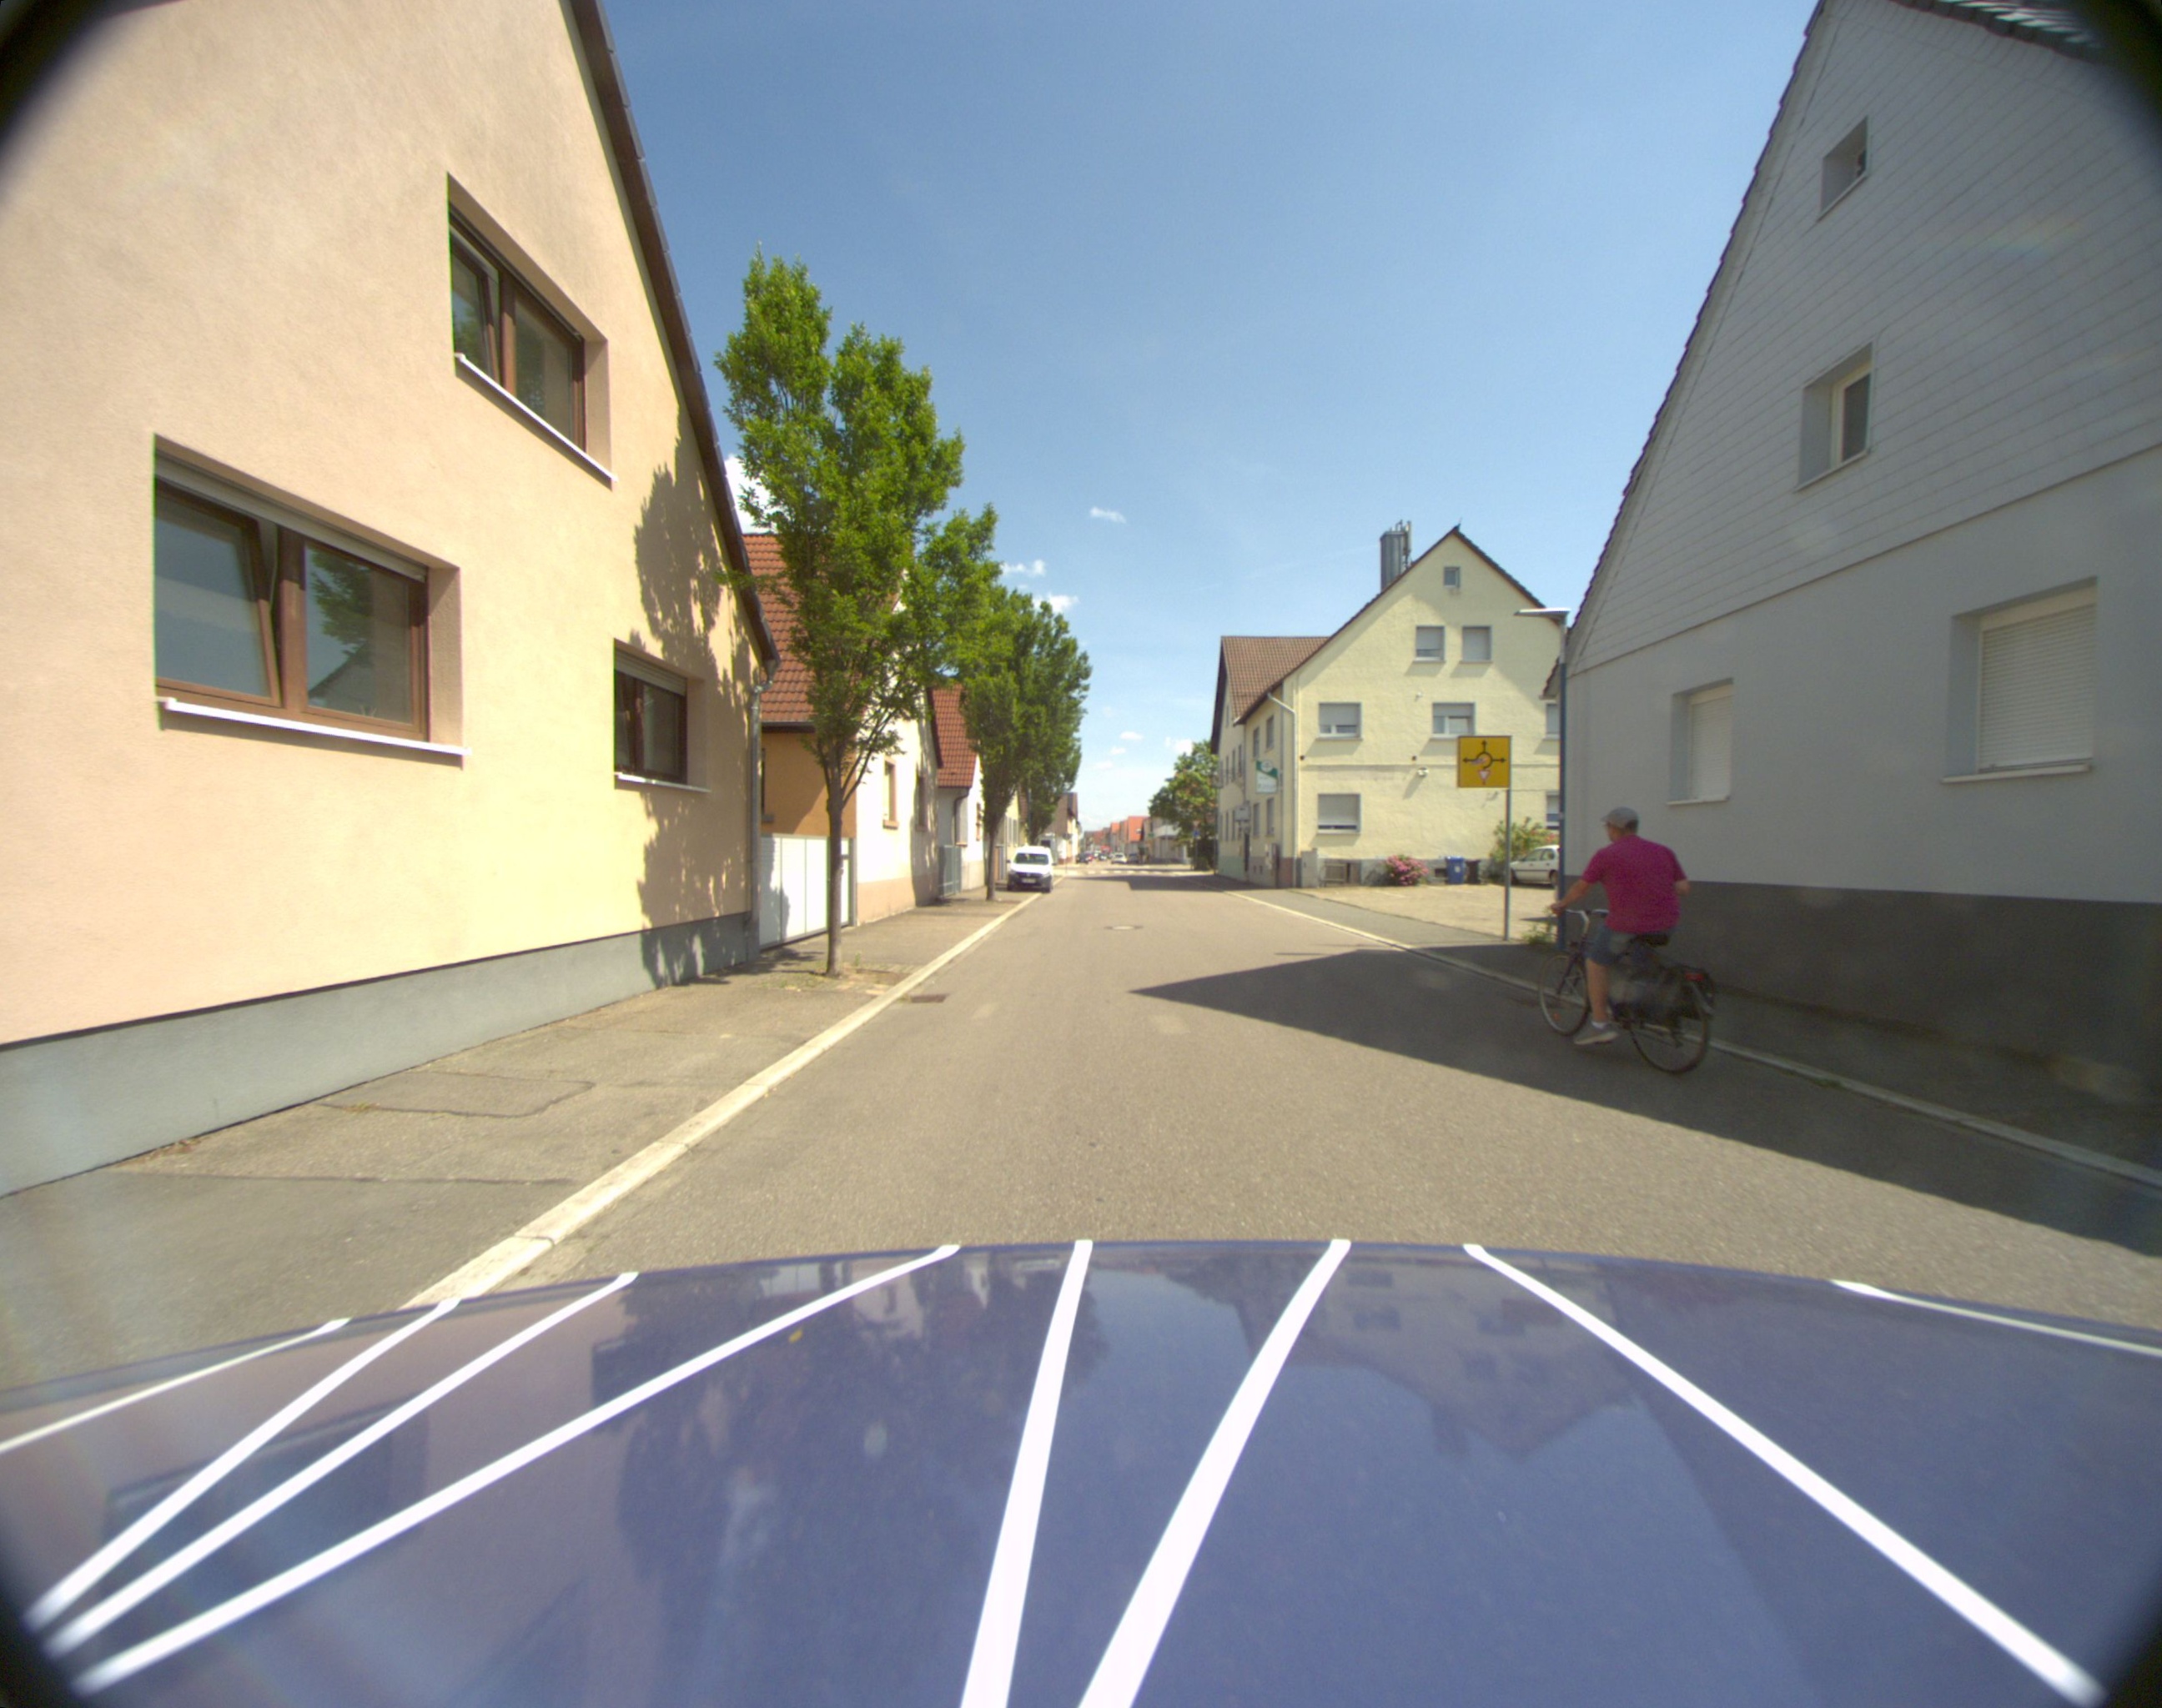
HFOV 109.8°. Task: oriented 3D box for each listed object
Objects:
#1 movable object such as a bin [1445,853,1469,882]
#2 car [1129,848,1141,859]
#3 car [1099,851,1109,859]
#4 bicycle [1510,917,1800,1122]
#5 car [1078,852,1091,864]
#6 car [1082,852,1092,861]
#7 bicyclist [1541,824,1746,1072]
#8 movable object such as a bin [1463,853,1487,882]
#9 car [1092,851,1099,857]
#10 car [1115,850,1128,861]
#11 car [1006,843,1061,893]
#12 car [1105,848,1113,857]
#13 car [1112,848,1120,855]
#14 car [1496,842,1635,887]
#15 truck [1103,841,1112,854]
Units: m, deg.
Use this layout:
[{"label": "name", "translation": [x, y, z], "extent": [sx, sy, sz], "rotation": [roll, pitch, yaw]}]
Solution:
[{"label": "movable object such as a bin", "translation": [14.164, 0.512, 28.655], "extent": [0.578, 1.066, 0.680], "rotation": [-1, 1, 3]}, {"label": "car", "translation": [7.749, -0.062, 109.182], "extent": [1.726, 1.385, 4.171], "rotation": [0, -2, 3]}, {"label": "car", "translation": [3.999, 0.206, 131.842], "extent": [1.598, 1.386, 4.168], "rotation": [-1, 1, 1]}, {"label": "bicycle", "translation": [4.061, 1.095, 5.629], "extent": [0.744, 1.041, 1.940], "rotation": [2, 1, 5]}, {"label": "car", "translation": [0.442, 0.550, 98.373], "extent": [1.598, 1.385, 4.170], "rotation": [0, -2, 2]}, {"label": "car", "translation": [1.064, 0.364, 127.355], "extent": [1.598, 1.385, 4.170], "rotation": [0, -2, 2]}, {"label": "bicyclist", "translation": [4.049, 0.624, 5.562], "extent": [0.748, 1.627, 0.956], "rotation": [2, 1, 5]}, {"label": "movable object such as a bin", "translation": [14.869, 0.505, 28.676], "extent": [0.578, 1.066, 0.680], "rotation": [-1, 1, 3]}, {"label": "car", "translation": [3.767, -0.037, 194.024], "extent": [1.598, 1.385, 4.168], "rotation": [0, 0, 0]}, {"label": "car", "translation": [5.267, 0.214, 99.723], "extent": [1.598, 1.386, 4.168], "rotation": [-1, 1, 1]}, {"label": "car", "translation": [-1.859, 0.508, 31.034], "extent": [1.692, 1.832, 4.764], "rotation": [3, 1, 2]}, {"label": "car", "translation": [7.154, -0.405, 192.322], "extent": [1.727, 2.097, 4.168], "rotation": [-1, 1, 0]}, {"label": "car", "translation": [8.039, -0.487, 173.602], "extent": [1.726, 1.385, 4.171], "rotation": [0, -2, 3]}, {"label": "car", "translation": [16.433, 0.317, 26.110], "extent": [1.828, 1.372, 4.830], "rotation": [-1, 1, 2]}, {"label": "truck", "translation": [7.084, -1.734, 206.965], "extent": [1.999, 3.420, 7.074], "rotation": [-2, 1, -1]}]
